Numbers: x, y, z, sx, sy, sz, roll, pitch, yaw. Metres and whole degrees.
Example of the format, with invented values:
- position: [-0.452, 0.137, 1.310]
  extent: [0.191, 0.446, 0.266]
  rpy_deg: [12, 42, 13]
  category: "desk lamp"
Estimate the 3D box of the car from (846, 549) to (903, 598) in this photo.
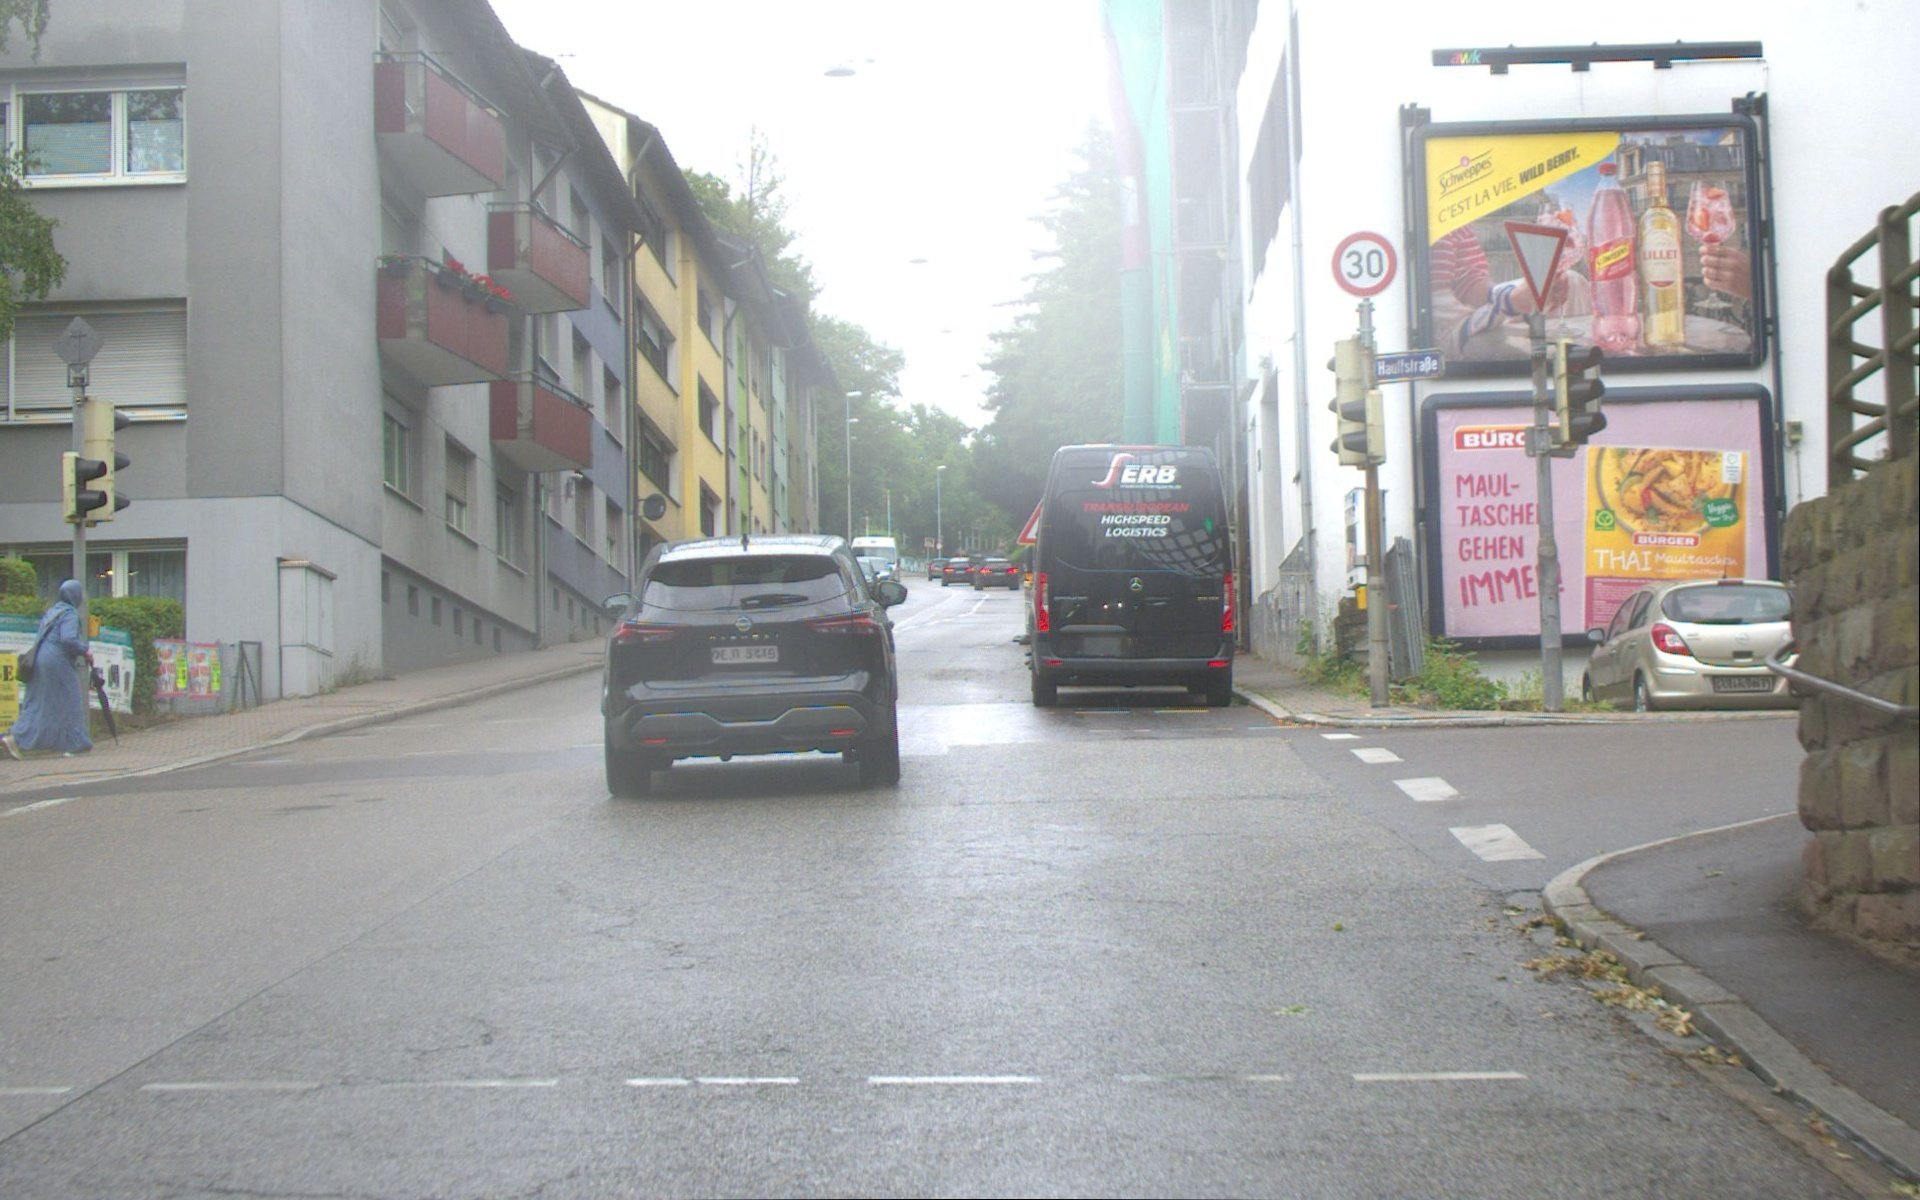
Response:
- position: [-3.217, -1.005, 129.768]
  extent: [1.990, 1.749, 4.480]
  rpy_deg: [-2, 1, 0]
  category: "car"

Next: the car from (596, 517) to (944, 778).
- position: [-1.142, 0.240, 22.515]
  extent: [1.993, 1.554, 4.000]
  rpy_deg: [0, 1, 1]
  category: "car"

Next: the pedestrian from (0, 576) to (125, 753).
- position: [-7.948, 0.574, 30.450]
  extent: [0.869, 1.536, 1.087]
  rpy_deg: [0, -2, -2]
  category: "pedestrian"

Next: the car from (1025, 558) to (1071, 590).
- position: [4.414, -1.321, 172.837]
  extent: [2.074, 1.554, 4.000]
  rpy_deg: [-1, 1, -2]
  category: "car"

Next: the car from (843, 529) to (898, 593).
- position: [-3.609, -1.594, 139.466]
  extent: [1.990, 2.466, 5.784]
  rpy_deg: [-2, 1, 0]
  category: "car"

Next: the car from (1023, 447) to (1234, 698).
- position: [1.666, -0.193, 35.800]
  extent: [1.993, 2.406, 5.836]
  rpy_deg: [0, -1, 1]
  category: "car"

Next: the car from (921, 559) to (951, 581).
- position: [-1.722, -2.164, 248.258]
  extent: [2.074, 1.554, 4.000]
  rpy_deg: [-1, 1, 0]
  category: "car"

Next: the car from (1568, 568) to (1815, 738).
- position: [6.951, 0.463, 33.004]
  extent: [1.562, 1.479, 4.000]
  rpy_deg: [0, 1, 1]
  category: "car"

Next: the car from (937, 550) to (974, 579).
- position: [-0.251, -2.012, 193.732]
  extent: [2.074, 1.554, 4.000]
  rpy_deg: [-1, 1, 0]
  category: "car"

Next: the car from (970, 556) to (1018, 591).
- position: [1.549, -1.223, 158.316]
  extent: [2.074, 1.554, 4.000]
  rpy_deg: [-1, 1, 0]
  category: "car"
